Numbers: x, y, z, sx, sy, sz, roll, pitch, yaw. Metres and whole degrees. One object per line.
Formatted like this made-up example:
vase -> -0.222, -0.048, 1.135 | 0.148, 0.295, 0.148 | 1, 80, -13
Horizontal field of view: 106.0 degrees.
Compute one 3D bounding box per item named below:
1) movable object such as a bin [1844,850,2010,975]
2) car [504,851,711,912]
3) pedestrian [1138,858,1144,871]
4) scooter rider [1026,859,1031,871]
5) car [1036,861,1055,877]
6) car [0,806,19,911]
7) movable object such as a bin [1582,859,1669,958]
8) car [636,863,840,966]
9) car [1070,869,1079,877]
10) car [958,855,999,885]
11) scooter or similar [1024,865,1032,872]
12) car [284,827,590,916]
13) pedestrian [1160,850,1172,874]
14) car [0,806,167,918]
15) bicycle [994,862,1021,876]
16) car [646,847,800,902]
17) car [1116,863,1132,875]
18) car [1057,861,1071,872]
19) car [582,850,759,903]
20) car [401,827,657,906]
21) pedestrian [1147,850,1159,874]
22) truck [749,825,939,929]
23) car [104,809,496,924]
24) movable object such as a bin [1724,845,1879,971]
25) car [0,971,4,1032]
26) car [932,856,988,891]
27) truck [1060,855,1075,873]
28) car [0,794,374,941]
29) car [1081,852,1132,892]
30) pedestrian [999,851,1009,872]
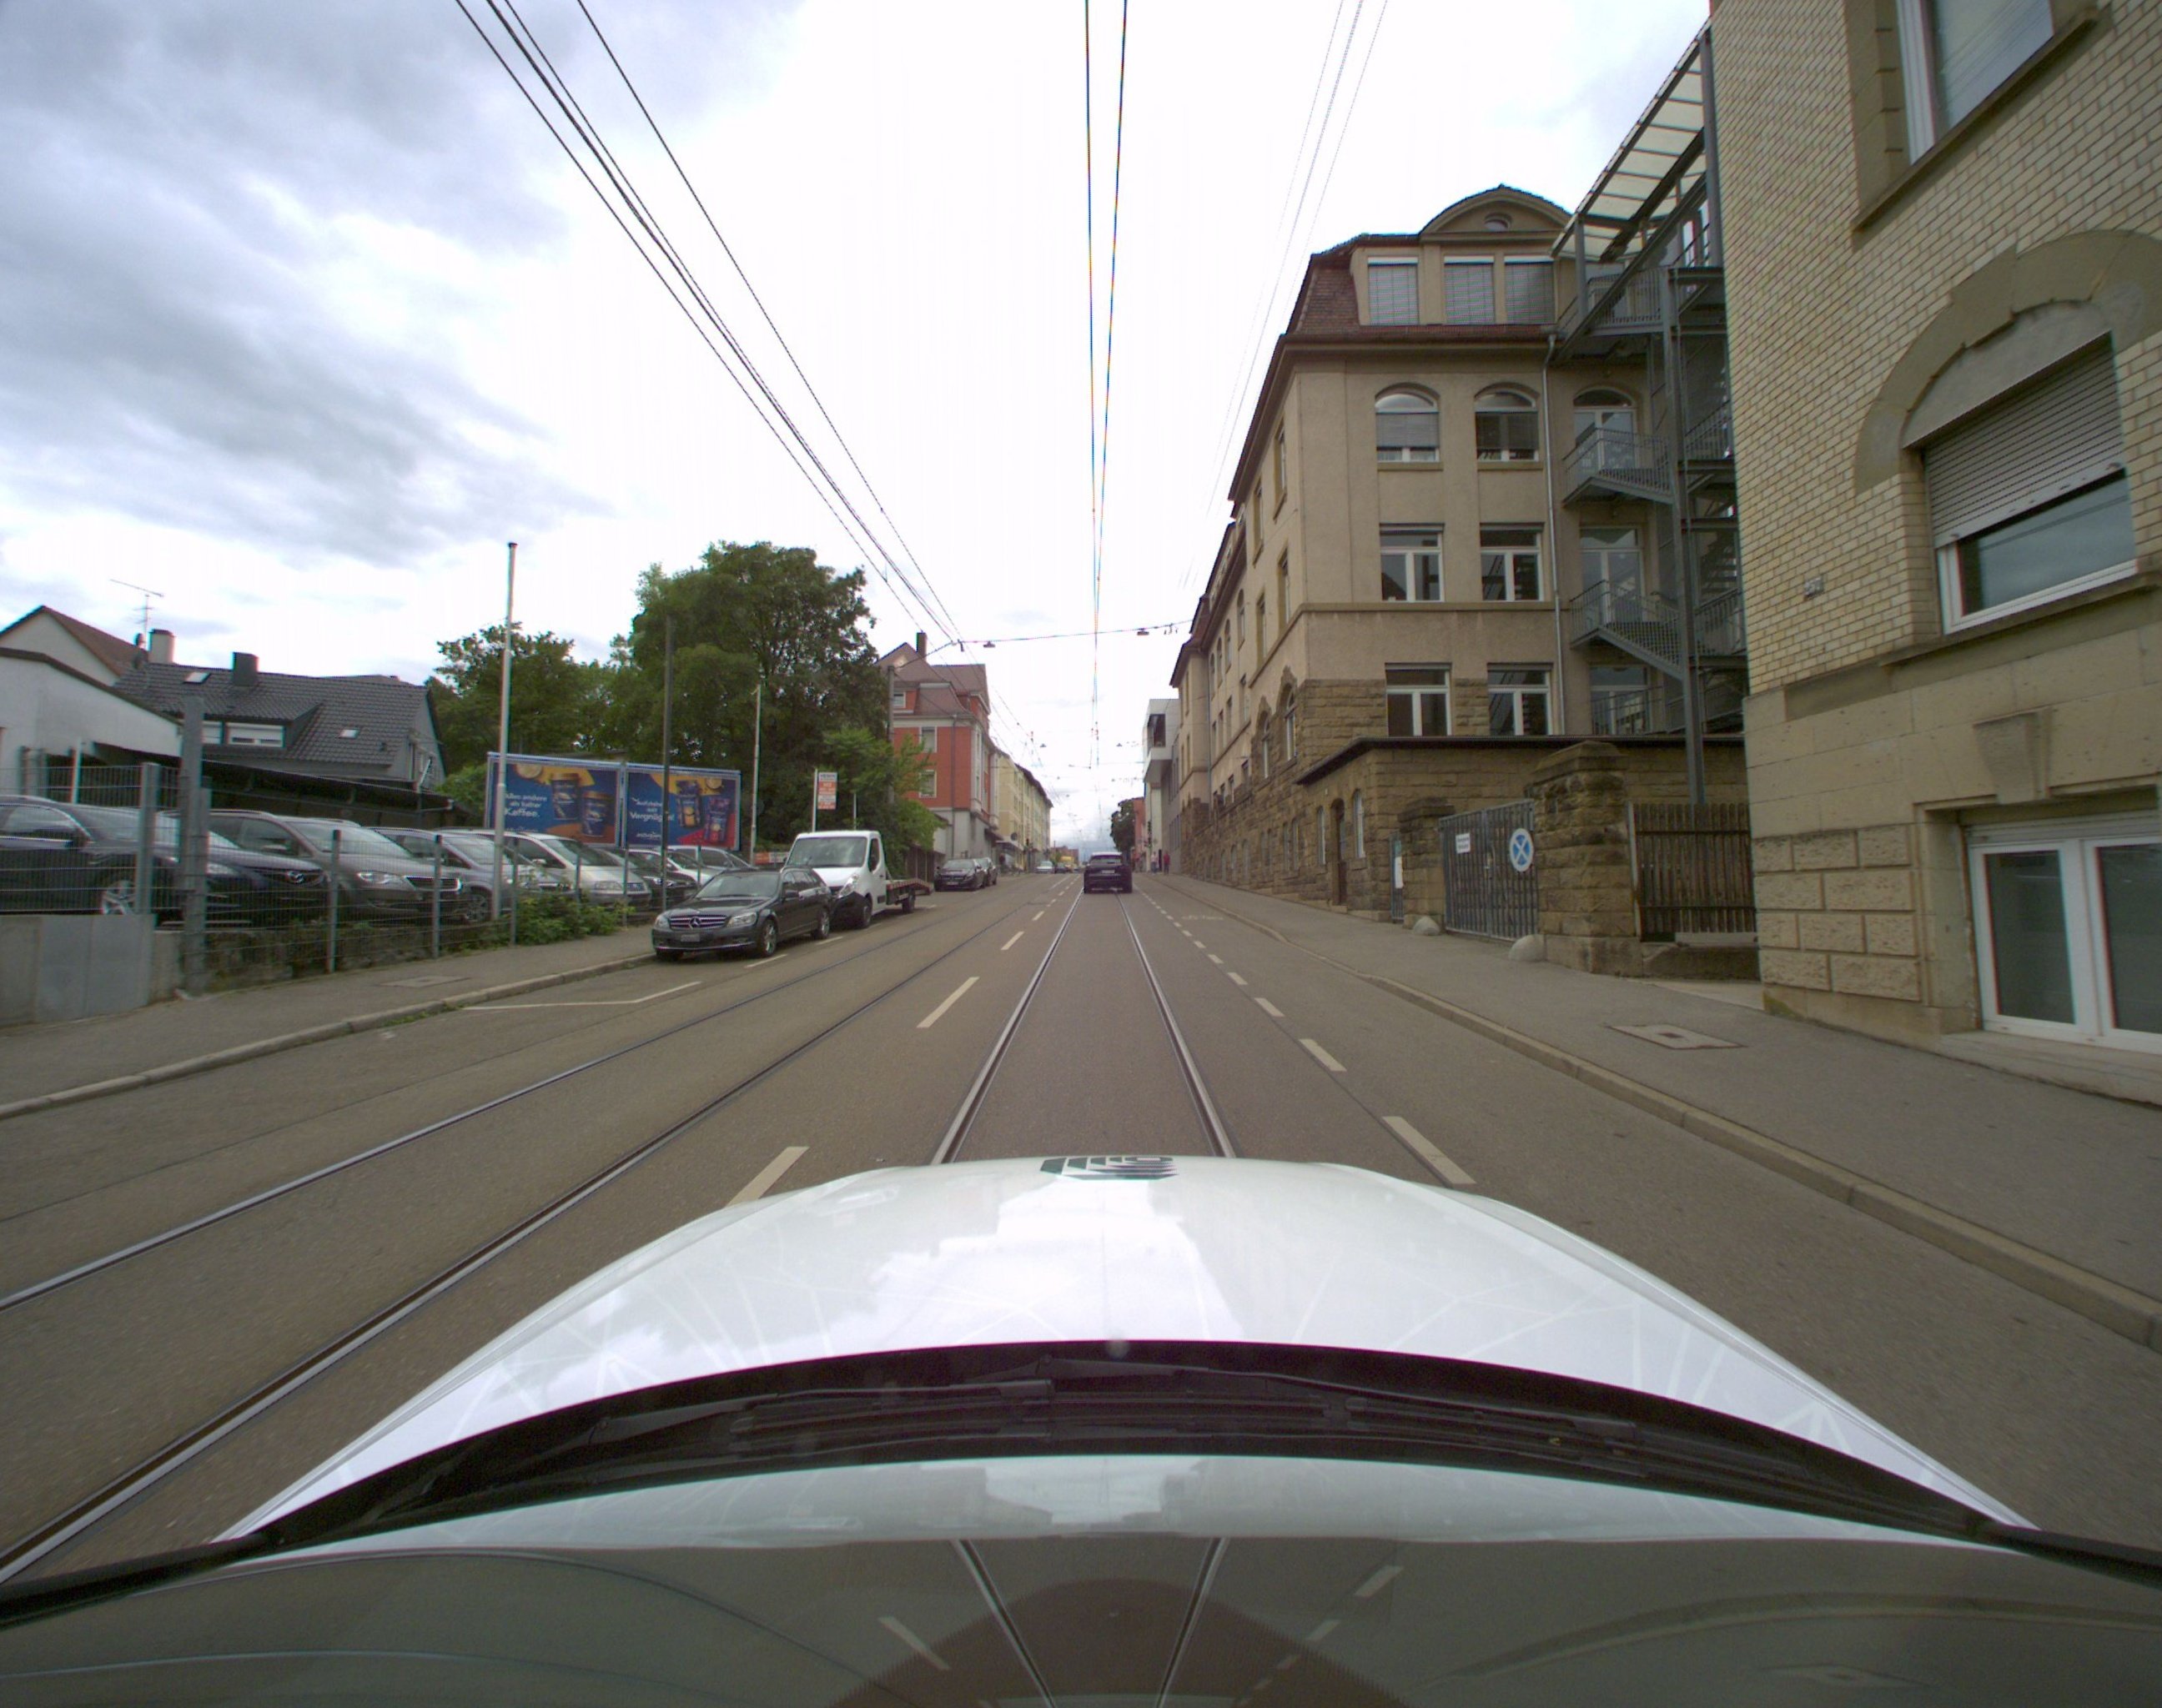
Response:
movable object such as a bin -> 10.722, 0.708, 10.367 | 1.071, 1.514, 0.997 | 0, 0, 1
car -> -11.046, 0.617, 19.188 | 3.863, 1.357, 1.688 | 0, 0, 0
pedestrian -> 7.964, 1.367, 107.860 | 0.788, 1.667, 0.799 | -1, 0, 3
scooter rider -> -6.766, 1.429, 104.462 | 0.646, 1.585, 0.765 | 0, 0, -3
car -> -3.877, 1.623, 89.433 | 1.848, 1.607, 4.298 | -1, 0, 1
car -> -17.425, 0.072, 10.735 | 1.676, 1.613, 3.891 | 0, 0, 2
movable object such as a bin -> 6.870, 0.671, 10.298 | 0.691, 1.218, 0.606 | 0, 0, 1
car -> -5.828, 0.934, 14.522 | 1.691, 1.433, 4.480 | -3, 0, 0
car -> -1.362, 4.180, 177.000 | 1.848, 1.607, 4.298 | -1, 0, 1
car -> -5.219, 0.783, 41.692 | 1.509, 1.446, 3.711 | -1, 0, 2
scooter or similar -> -6.809, 1.898, 104.441 | 1.025, 0.919, 0.472 | 0, 0, -4
car -> -11.245, 0.294, 14.410 | 4.046, 1.445, 1.688 | 0, 0, 0
pedestrian -> 5.949, 0.539, 56.739 | 0.788, 1.667, 0.799 | -1, 0, 3
car -> -15.236, 0.114, 10.830 | 1.676, 1.494, 3.891 | 0, 0, 2
bicycle -> -5.395, 1.089, 59.775 | 1.904, 1.000, 0.479 | -1, 0, 1
car -> -10.637, 0.576, 24.468 | 3.965, 1.551, 1.680 | 0, 0, -14
car -> 5.601, 1.986, 107.360 | 1.986, 1.563, 4.291 | -1, 0, 2
car -> -2.549, 1.912, 122.014 | 1.848, 1.607, 4.298 | -1, 0, 1
car -> -10.879, 0.579, 21.768 | 3.863, 1.357, 1.688 | 0, 0, 0
car -> -11.127, 0.244, 16.617 | 4.046, 1.494, 1.688 | 0, 0, 0
pedestrian -> 5.047, 0.578, 56.813 | 0.788, 1.667, 0.799 | -1, 0, 3
truck -> -5.717, 0.501, 21.212 | 2.271, 2.188, 8.029 | -1, 0, 2
car -> -11.224, 0.172, 11.927 | 4.046, 1.524, 1.739 | 0, 0, 0
movable object such as a bin -> 9.068, 0.651, 10.302 | 1.071, 1.514, 0.997 | 0, 0, 1
car -> -12.031, 1.126, 6.492 | 4.324, 1.345, 1.861 | -5, 0, 0
car -> -5.313, 0.822, 36.165 | 1.706, 1.446, 4.291 | -1, 0, 2
truck -> -2.320, 1.788, 142.198 | 2.294, 3.036, 9.035 | 0, -1, 1
car -> -11.208, 0.136, 9.696 | 4.046, 1.552, 1.688 | 1, 0, 0
car -> 1.083, 0.708, 34.249 | 1.986, 1.563, 4.291 | -1, 0, 2
pedestrian -> -6.508, 0.663, 68.813 | 0.772, 1.776, 0.650 | -1, 0, 2
